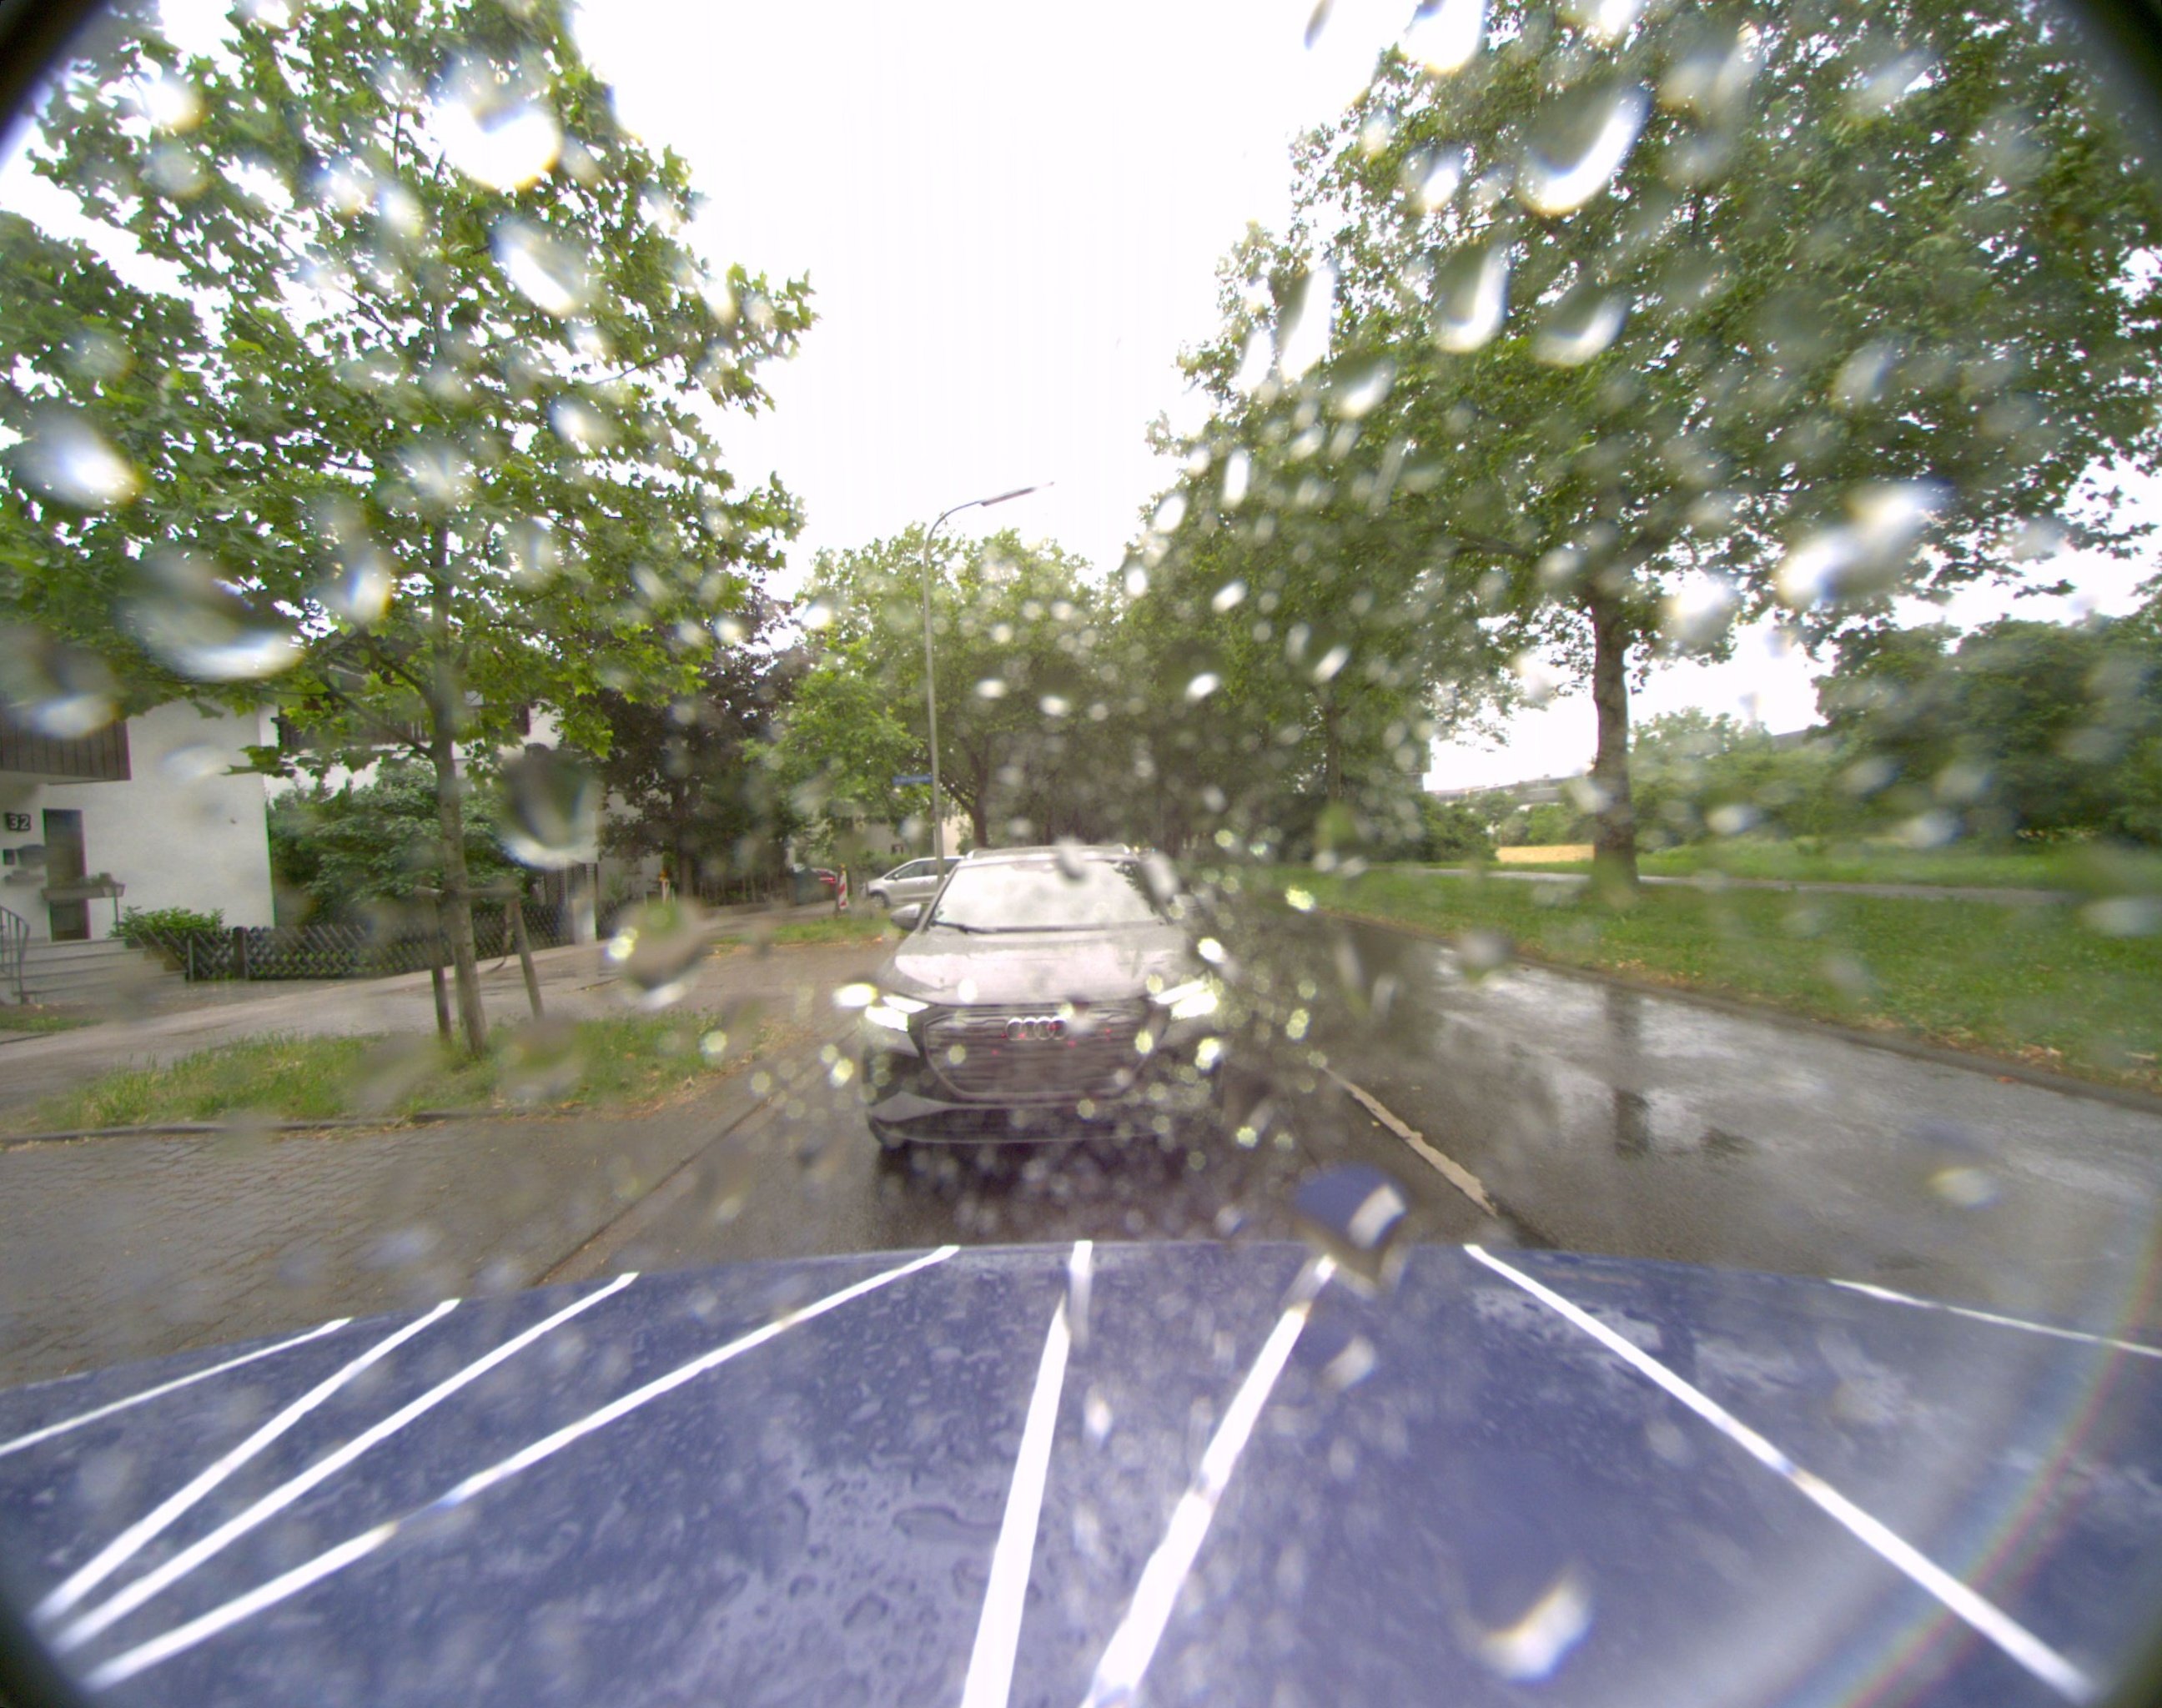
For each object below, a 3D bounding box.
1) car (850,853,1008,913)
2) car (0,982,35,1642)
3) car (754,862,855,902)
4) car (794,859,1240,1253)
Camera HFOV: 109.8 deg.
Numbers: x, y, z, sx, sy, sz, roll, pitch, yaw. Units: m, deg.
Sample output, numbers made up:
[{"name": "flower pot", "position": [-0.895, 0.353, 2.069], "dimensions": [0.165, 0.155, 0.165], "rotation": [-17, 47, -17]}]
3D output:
[{"name": "car", "position": [-4.843, 0.905, 24.756], "dimensions": [4.701, 1.651, 1.976], "rotation": [-3, 0, -1]}, {"name": "car", "position": [-4.760, 1.117, 0.613], "dimensions": [4.779, 1.464, 1.937], "rotation": [-2, 0, -4]}, {"name": "car", "position": [-12.651, 1.245, 34.907], "dimensions": [3.853, 1.603, 1.843], "rotation": [-3, 0, 2]}, {"name": "car", "position": [-0.243, 0.893, 5.501], "dimensions": [1.862, 1.608, 4.423], "rotation": [-3, 0, 1]}]
